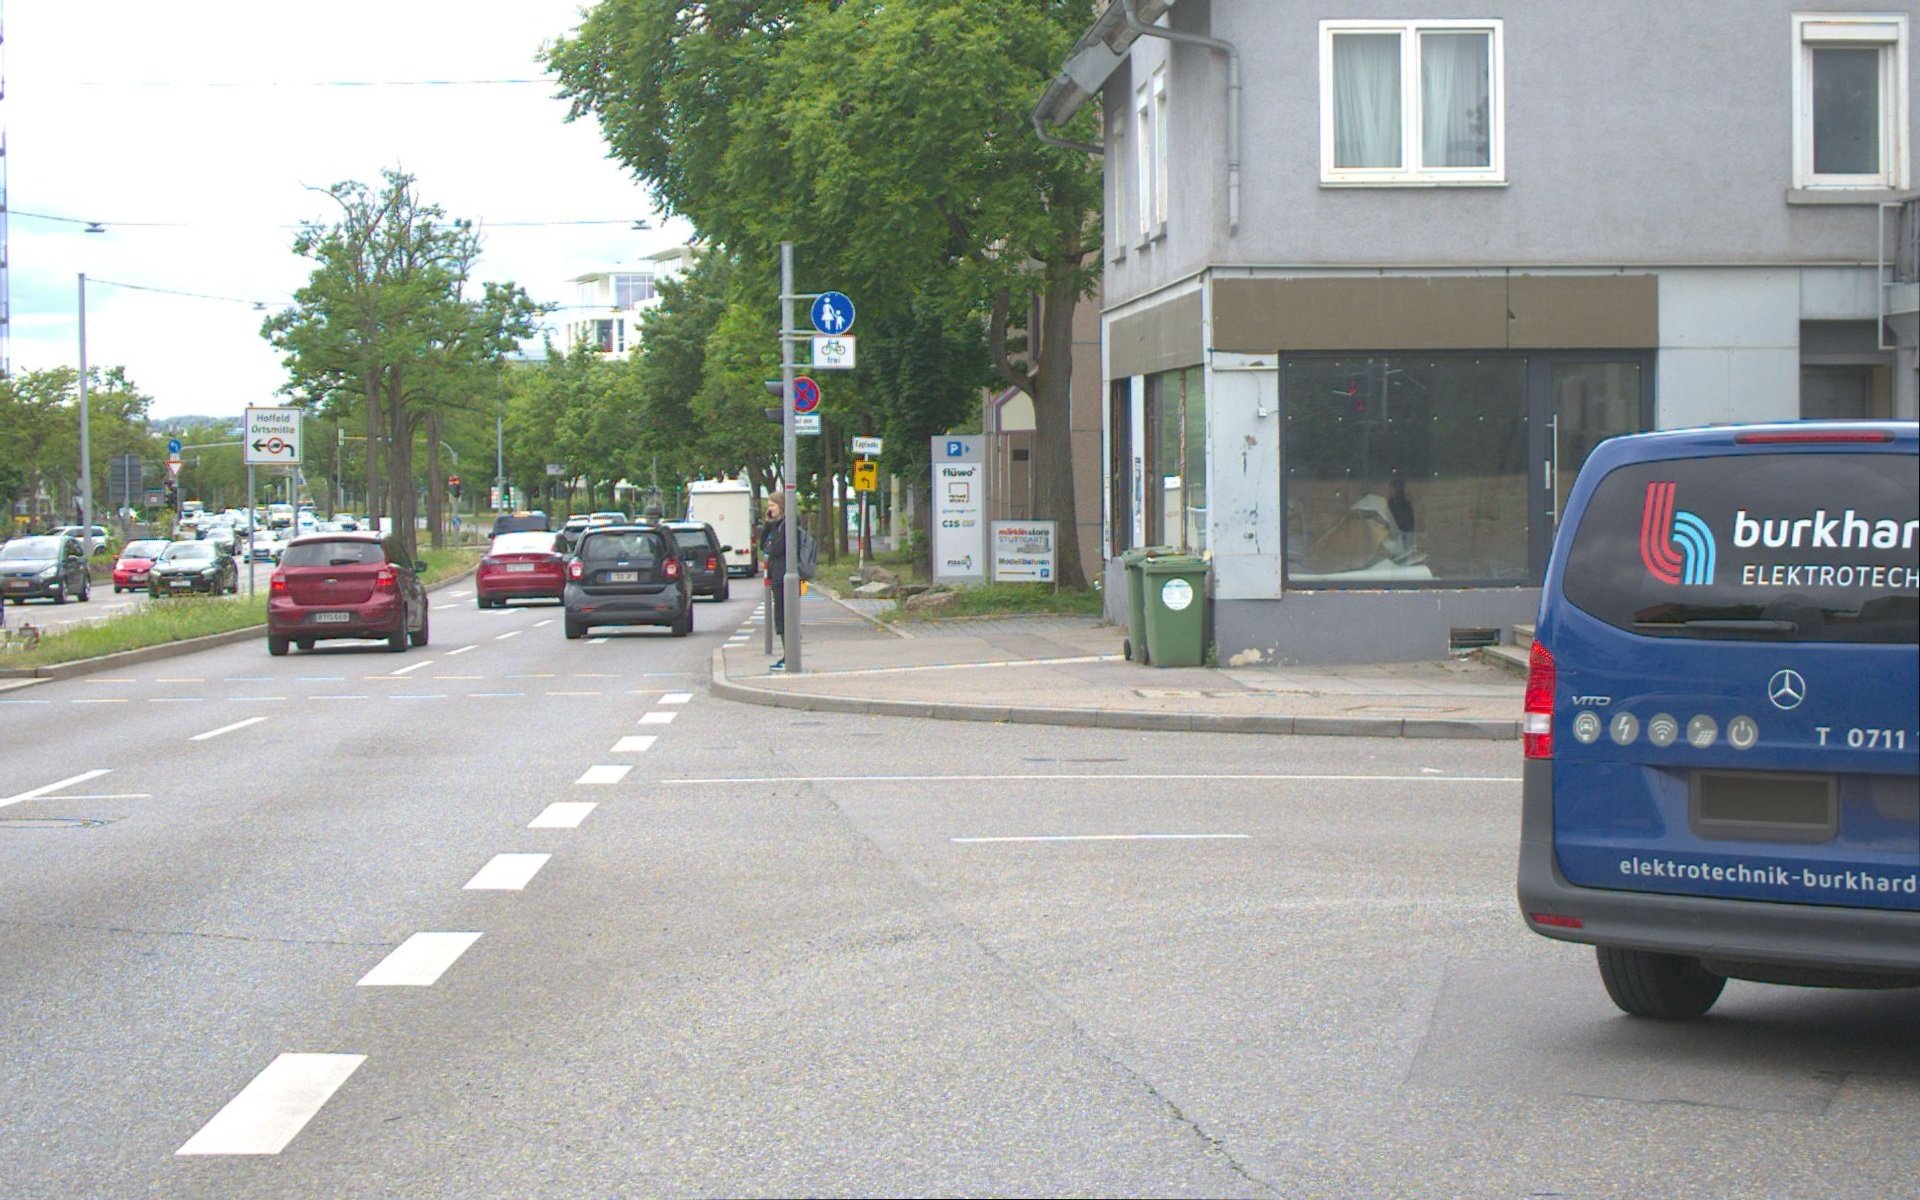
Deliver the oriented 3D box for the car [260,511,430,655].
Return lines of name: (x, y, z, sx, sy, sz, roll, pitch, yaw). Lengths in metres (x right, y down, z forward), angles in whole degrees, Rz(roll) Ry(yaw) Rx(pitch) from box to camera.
car: (-7.739, -0.245, 43.551, 1.746, 1.717, 4.001, -1, 1, -5)

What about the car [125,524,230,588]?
car: (-19.742, -1.115, 86.883, 1.993, 1.568, 4.001, -1, 1, -4)

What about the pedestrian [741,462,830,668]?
pedestrian: (-1.723, -0.346, 34.027, 0.771, 2.007, 0.877, -1, 1, 3)

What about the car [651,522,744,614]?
car: (-5.133, -0.644, 67.390, 1.746, 1.717, 4.001, -1, 1, -4)

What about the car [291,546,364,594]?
car: (-21.101, -1.020, 114.803, 1.993, 1.568, 4.001, -1, 1, -5)

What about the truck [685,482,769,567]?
truck: (-6.247, -2.024, 92.674, 1.993, 2.158, 5.560, 1, 1, -2)

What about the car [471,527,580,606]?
car: (-8.579, -0.689, 67.600, 1.868, 1.481, 4.001, -1, 1, -11)

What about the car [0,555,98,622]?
car: (-22.425, -0.289, 83.993, 1.993, 1.568, 4.001, -1, 1, -4)

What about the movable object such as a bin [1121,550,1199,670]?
movable object such as a bin: (1.853, 0.089, 31.903, 0.597, 1.097, 0.573, -1, 1, -10)

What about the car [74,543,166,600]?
car: (-23.980, -0.829, 98.270, 1.993, 1.568, 4.001, -1, 1, -6)

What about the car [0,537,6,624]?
car: (-17.421, -0.294, 57.732, 1.993, 1.511, 4.001, -1, 1, -5)

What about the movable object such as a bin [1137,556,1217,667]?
movable object such as a bin: (1.975, 0.100, 31.309, 0.597, 0.984, 0.573, -1, 1, -10)

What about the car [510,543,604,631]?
car: (-9.876, -0.348, 84.025, 1.993, 2.006, 4.001, 1, 2, -11)

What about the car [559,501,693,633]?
car: (-4.579, -0.472, 47.400, 1.746, 1.717, 4.001, -1, 1, -5)

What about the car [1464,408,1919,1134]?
car: (3.603, 0.439, 11.350, 1.952, 1.959, 4.532, 1, 1, 36)
